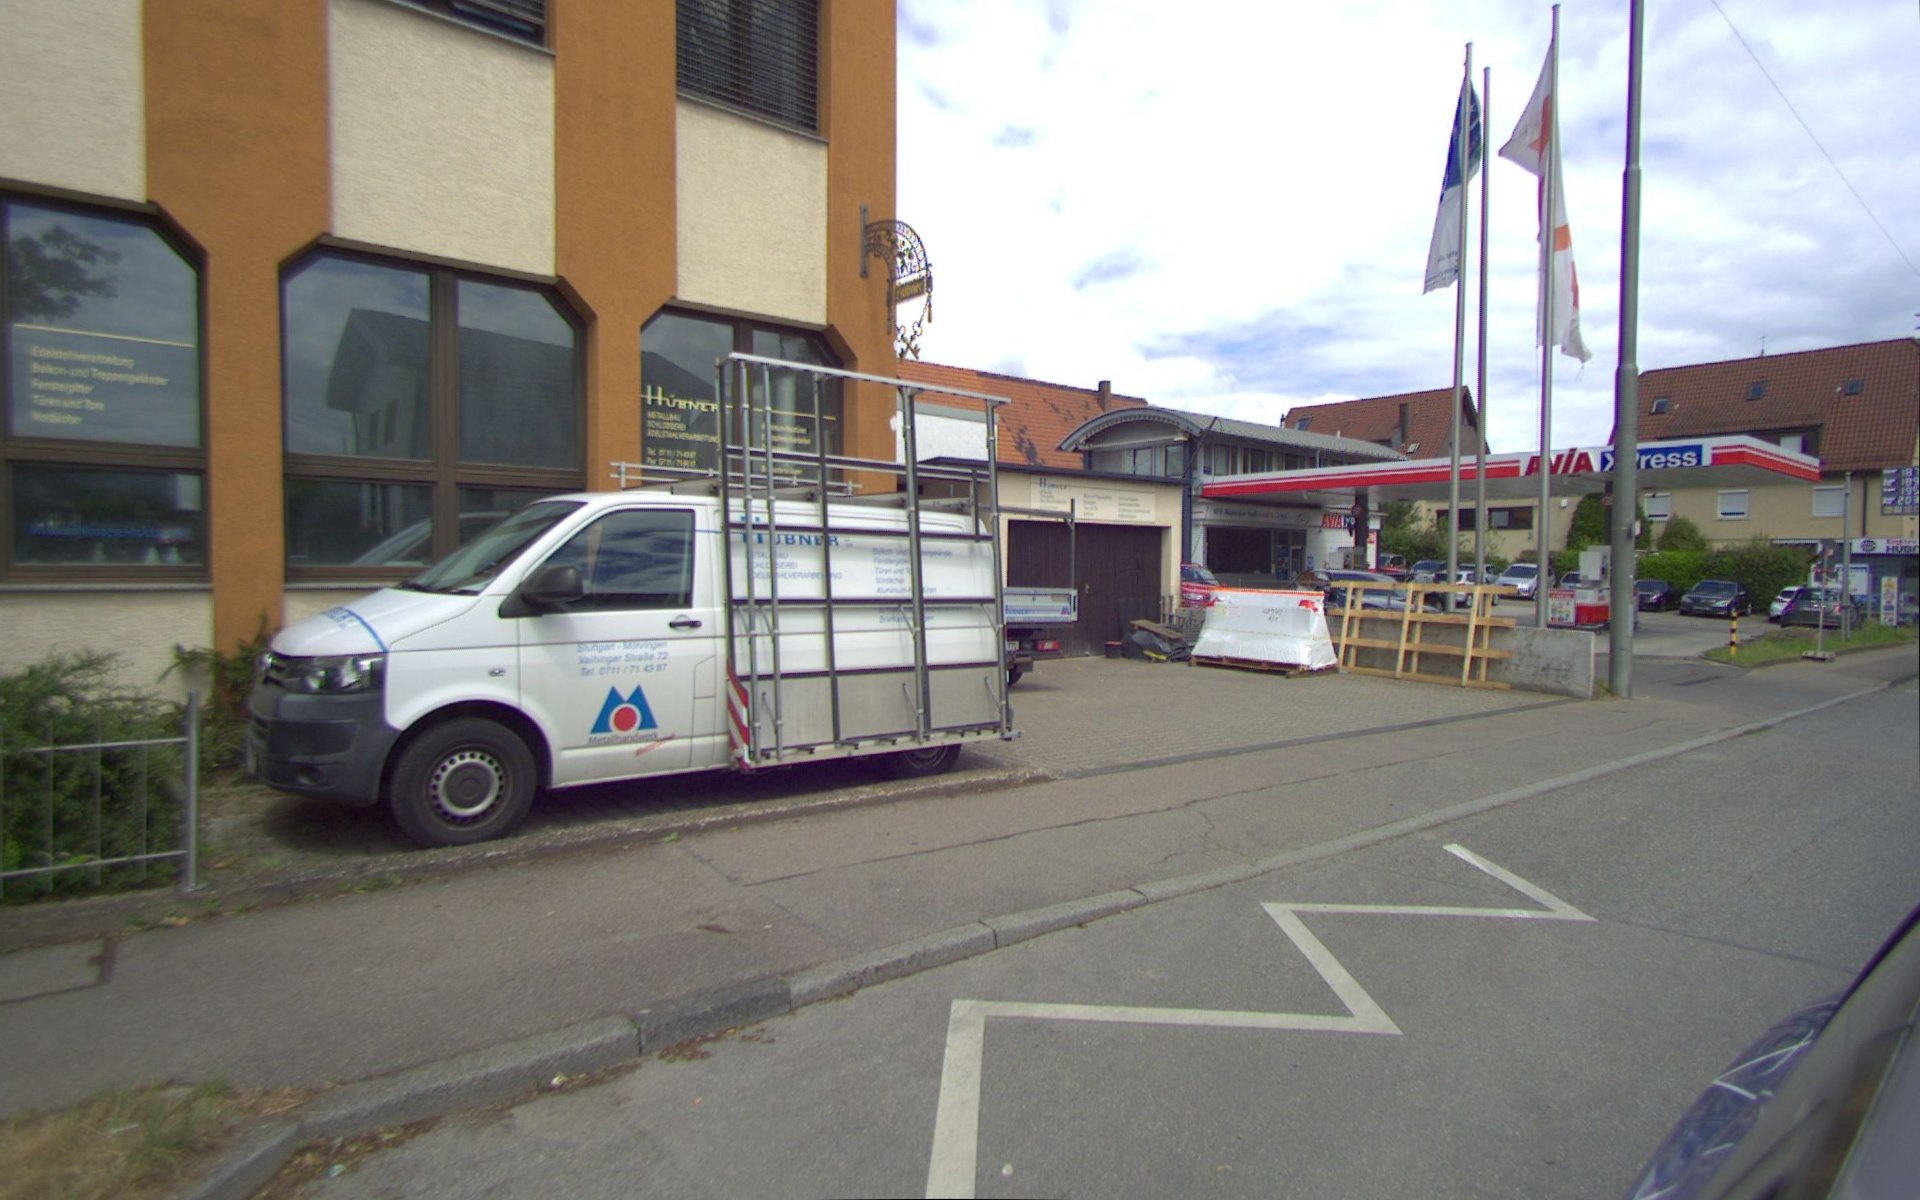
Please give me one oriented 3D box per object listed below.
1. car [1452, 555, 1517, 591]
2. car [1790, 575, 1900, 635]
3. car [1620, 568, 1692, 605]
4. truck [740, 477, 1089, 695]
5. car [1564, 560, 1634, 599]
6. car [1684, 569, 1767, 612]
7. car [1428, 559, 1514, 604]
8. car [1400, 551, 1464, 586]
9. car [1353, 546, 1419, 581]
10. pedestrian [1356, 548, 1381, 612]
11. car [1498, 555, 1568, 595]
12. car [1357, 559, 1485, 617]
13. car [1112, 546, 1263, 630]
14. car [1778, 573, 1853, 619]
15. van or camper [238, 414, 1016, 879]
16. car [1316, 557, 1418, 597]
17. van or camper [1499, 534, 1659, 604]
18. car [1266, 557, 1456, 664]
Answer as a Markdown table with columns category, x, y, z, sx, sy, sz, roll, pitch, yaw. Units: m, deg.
| category | x | y | z | sx | sy | sz | roll | pitch | yaw |
| --- | --- | --- | --- | --- | --- | --- | --- | --- | --- |
| car | 25.332 | -1.329 | 48.878 | 3.439 | 1.587 | 1.570 | -2 | 7 | -42 |
| car | 28.118 | 0.138 | 32.111 | 4.081 | 1.613 | 1.622 | 0 | 8 | -36 |
| car | 29.815 | -0.593 | 43.302 | 3.683 | 1.388 | 1.640 | -2 | 7 | -42 |
| truck | -0.857 | -0.196 | 14.275 | 2.314 | 2.488 | 5.100 | 2 | 0 | -39 |
| car | 28.692 | -0.946 | 45.401 | 3.683 | 1.604 | 1.640 | -2 | 7 | -42 |
| car | 31.366 | -0.433 | 41.406 | 4.576 | 1.560 | 1.716 | -2 | 7 | -41 |
| car | 20.778 | -0.770 | 41.118 | 3.680 | 1.518 | 1.636 | -4 | 8 | -38 |
| car | 23.699 | -1.582 | 50.763 | 3.439 | 1.587 | 1.570 | -2 | 7 | -42 |
| car | 22.265 | -1.920 | 52.810 | 3.885 | 1.650 | 1.570 | -2 | 7 | -42 |
| pedestrian | 12.677 | -0.615 | 31.417 | 0.530 | 1.959 | 0.587 | 0 | 0 | -2 |
| car | 26.765 | -1.184 | 47.221 | 3.979 | 1.702 | 1.570 | -2 | 7 | -42 |
| car | 13.869 | -0.400 | 30.345 | 4.488 | 1.628 | 1.634 | -2 | 2 | -38 |
| car | 5.506 | -0.367 | 25.207 | 1.787 | 1.737 | 4.619 | 5 | 1 | -12 |
| car | 33.845 | -0.204 | 39.991 | 4.133 | 1.546 | 1.638 | -2 | 7 | -42 |
| van or camper | -1.918 | 0.157 | 6.619 | 4.466 | 2.057 | 1.871 | -1 | 1 | -39 |
| car | 17.340 | -1.008 | 43.276 | 1.591 | 1.477 | 3.756 | -4 | 6 | -36 |
| van or camper | 30.019 | -1.581 | 49.263 | 2.488 | 2.884 | 5.973 | 0 | 6 | -42 |
| car | 7.537 | 0.085 | 19.537 | 1.603 | 1.650 | 4.326 | 3 | 4 | -4 |
